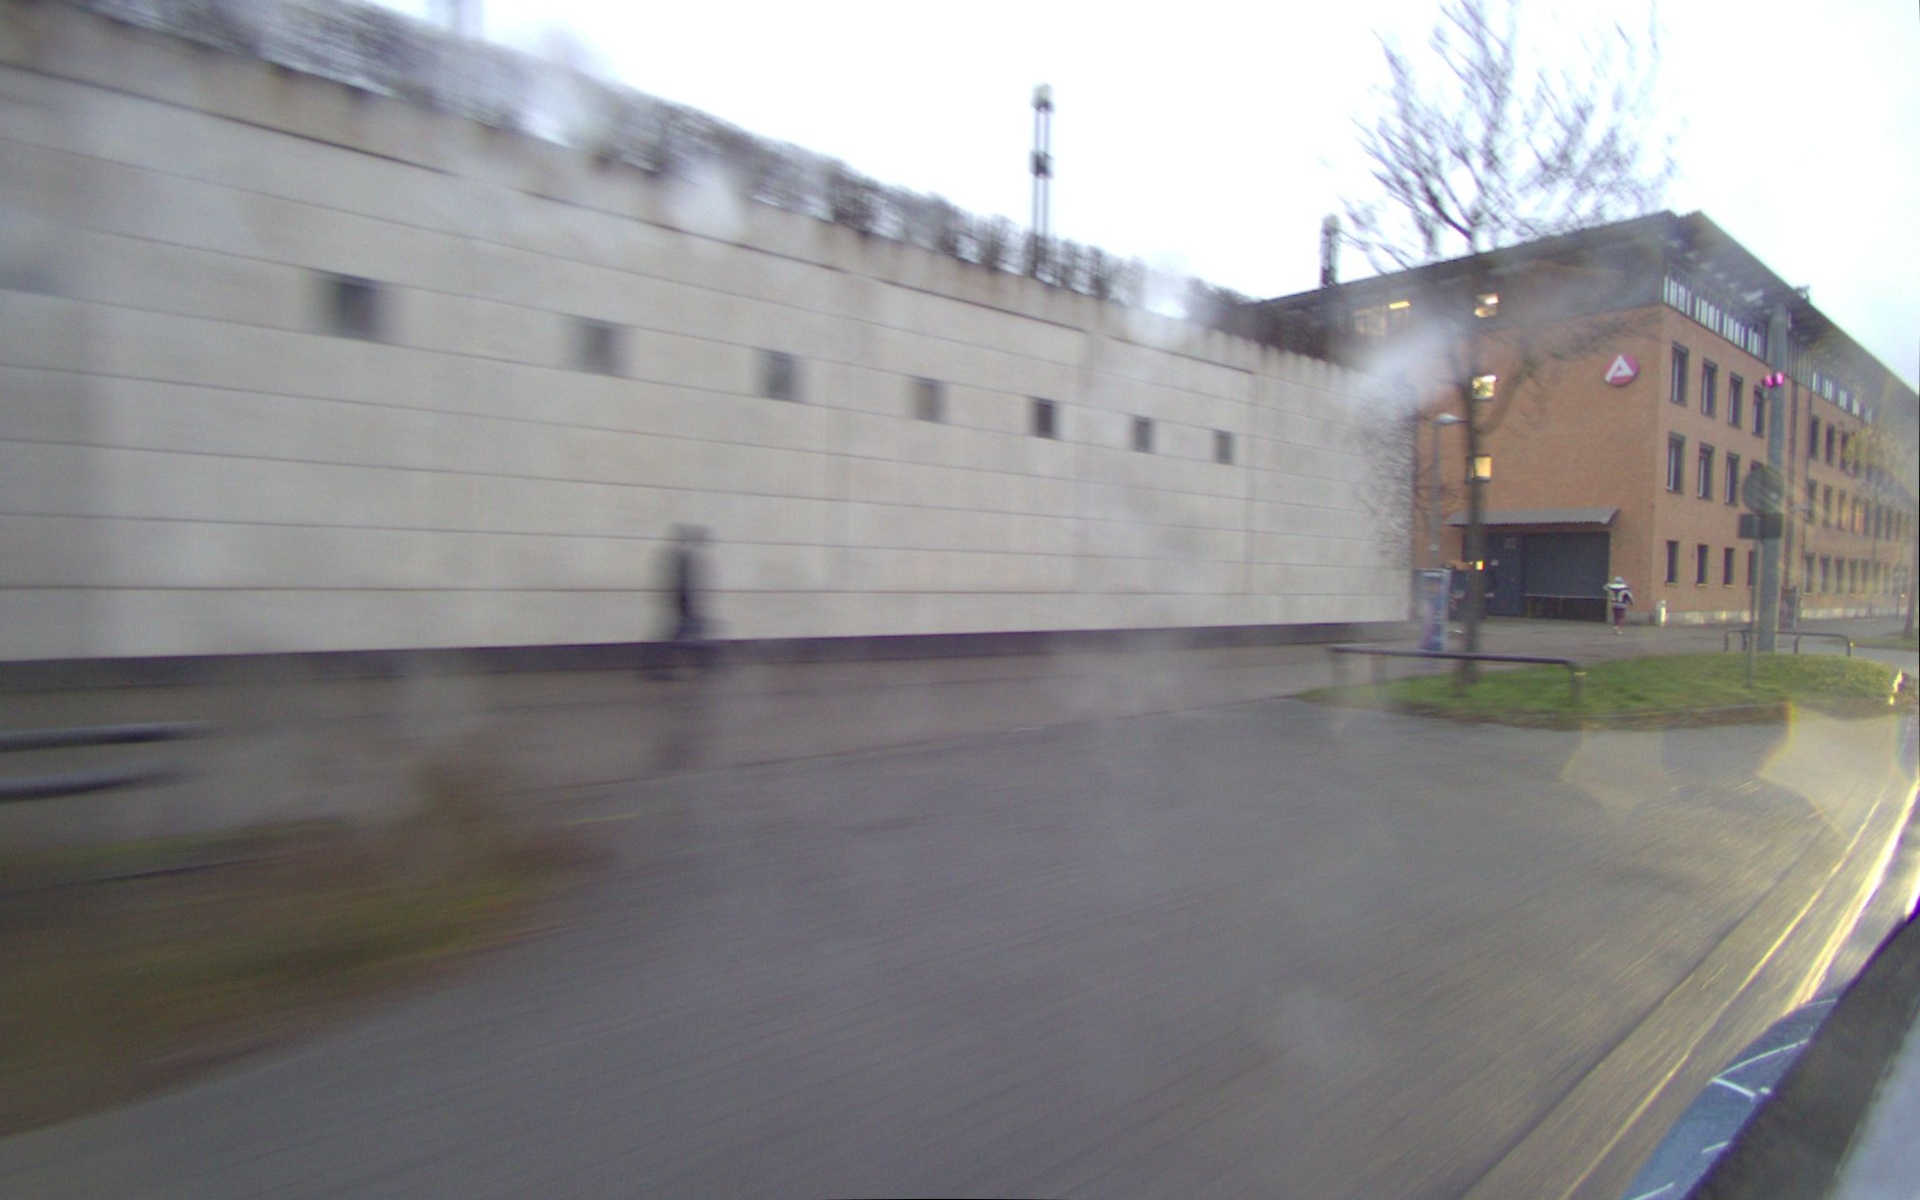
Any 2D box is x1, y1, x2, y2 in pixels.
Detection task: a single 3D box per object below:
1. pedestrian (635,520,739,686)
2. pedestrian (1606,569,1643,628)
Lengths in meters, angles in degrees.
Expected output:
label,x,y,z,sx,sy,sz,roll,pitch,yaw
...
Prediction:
label,x,y,z,sx,sy,sz,roll,pitch,yaw
pedestrian,-2.867,0.010,10.594,0.683,1.638,0.939,0,2,-42
pedestrian,18.951,-0.045,28.840,1.049,1.630,0.622,0,1,-43
